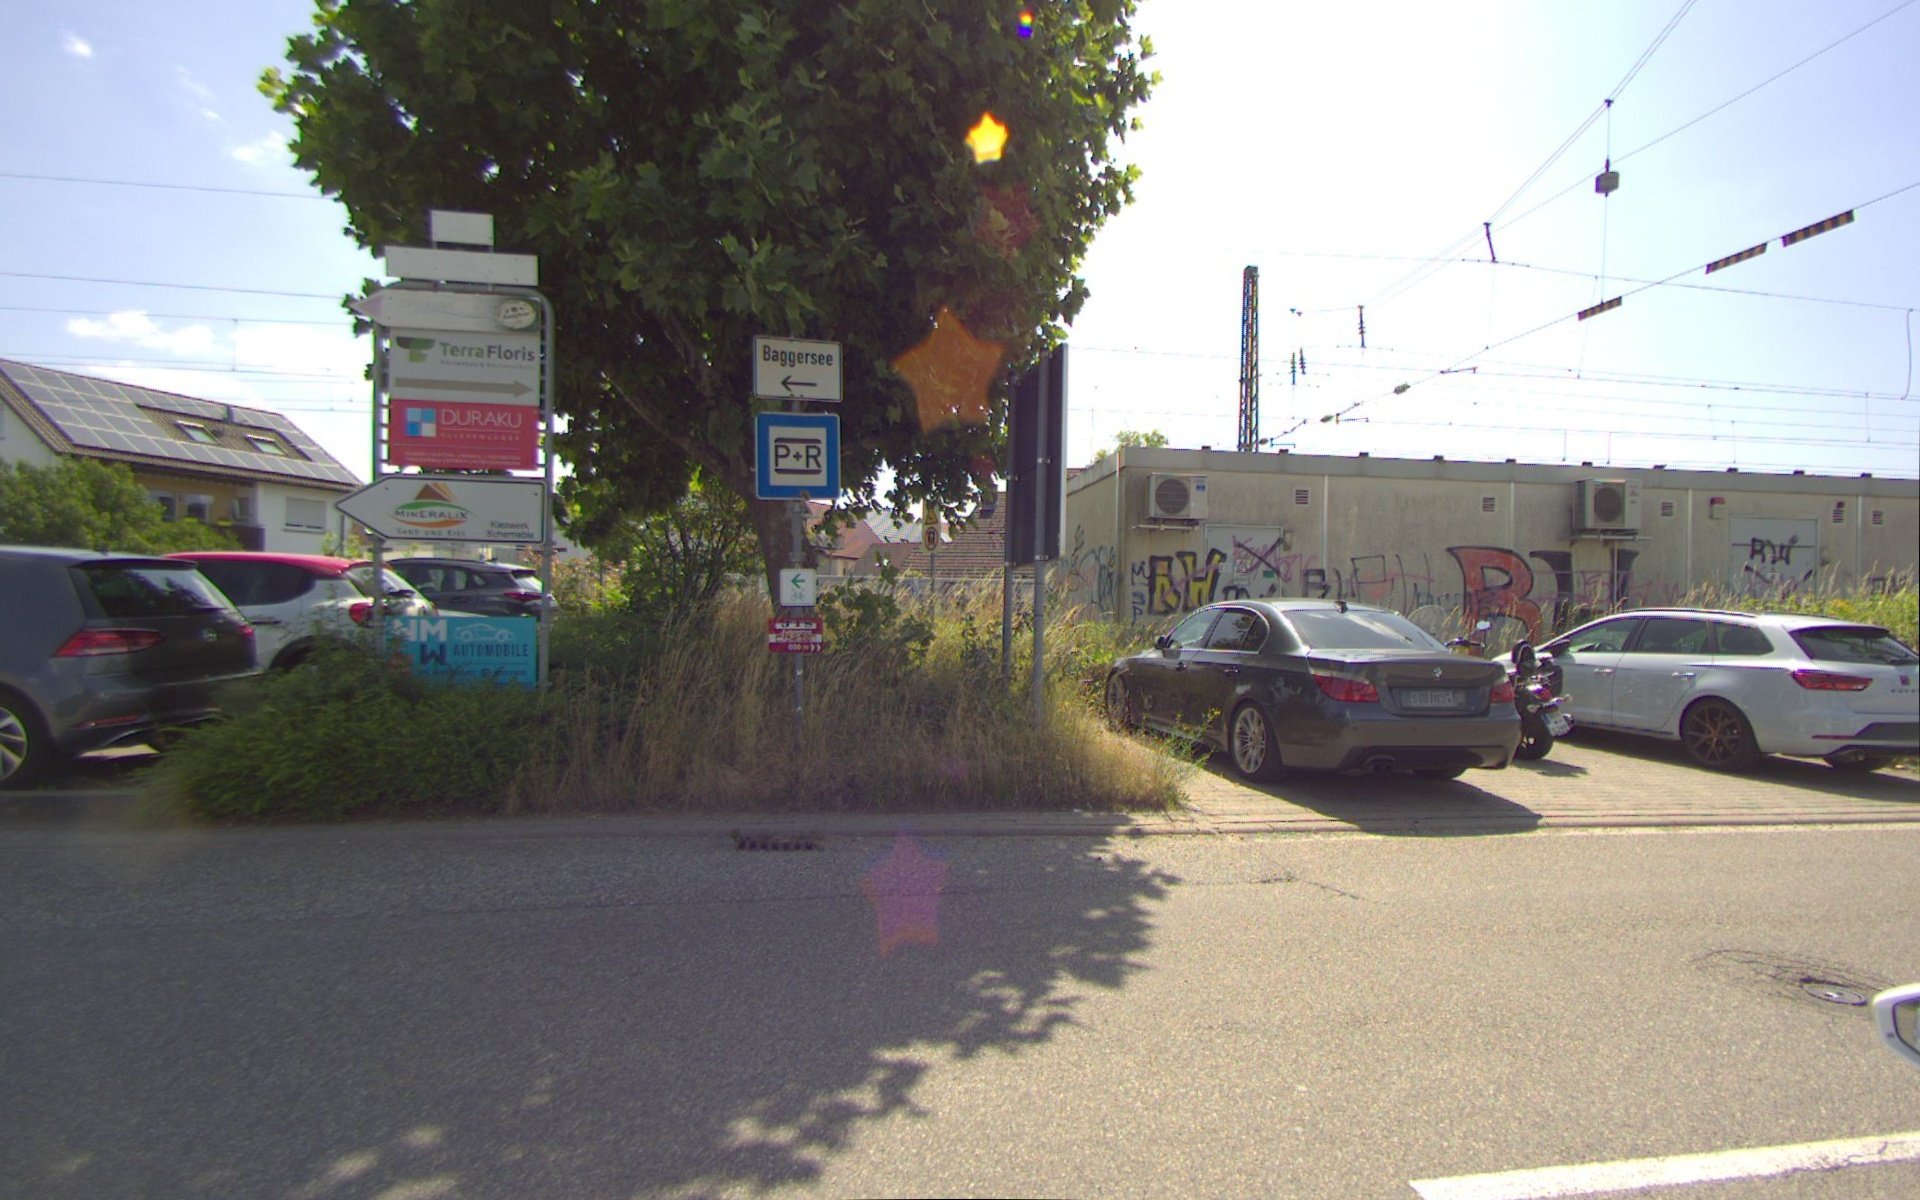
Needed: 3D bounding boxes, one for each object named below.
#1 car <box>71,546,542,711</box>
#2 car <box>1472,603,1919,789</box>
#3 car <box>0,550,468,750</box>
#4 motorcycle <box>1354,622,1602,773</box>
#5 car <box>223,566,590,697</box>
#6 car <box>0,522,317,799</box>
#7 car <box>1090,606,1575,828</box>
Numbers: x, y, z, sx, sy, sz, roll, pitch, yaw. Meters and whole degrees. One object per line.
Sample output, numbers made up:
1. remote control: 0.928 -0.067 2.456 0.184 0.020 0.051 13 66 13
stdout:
1. car: -7.210 0.327 11.500 4.008 1.659 1.999 1 -1 -4
2. car: 7.412 0.794 10.179 1.756 1.420 4.076 1 0 -13
3. car: -6.605 0.421 8.960 3.510 1.557 1.796 1 -1 -4
4. motorcycle: 5.097 0.892 10.189 0.705 1.298 2.728 1 -1 -10
5. car: -7.584 0.441 14.156 4.008 1.659 1.999 1 -1 -5
6. car: -6.689 0.327 6.412 3.984 1.551 1.690 1 -1 -4
7. car: 2.822 0.800 8.840 1.758 1.429 4.427 1 -1 -15
